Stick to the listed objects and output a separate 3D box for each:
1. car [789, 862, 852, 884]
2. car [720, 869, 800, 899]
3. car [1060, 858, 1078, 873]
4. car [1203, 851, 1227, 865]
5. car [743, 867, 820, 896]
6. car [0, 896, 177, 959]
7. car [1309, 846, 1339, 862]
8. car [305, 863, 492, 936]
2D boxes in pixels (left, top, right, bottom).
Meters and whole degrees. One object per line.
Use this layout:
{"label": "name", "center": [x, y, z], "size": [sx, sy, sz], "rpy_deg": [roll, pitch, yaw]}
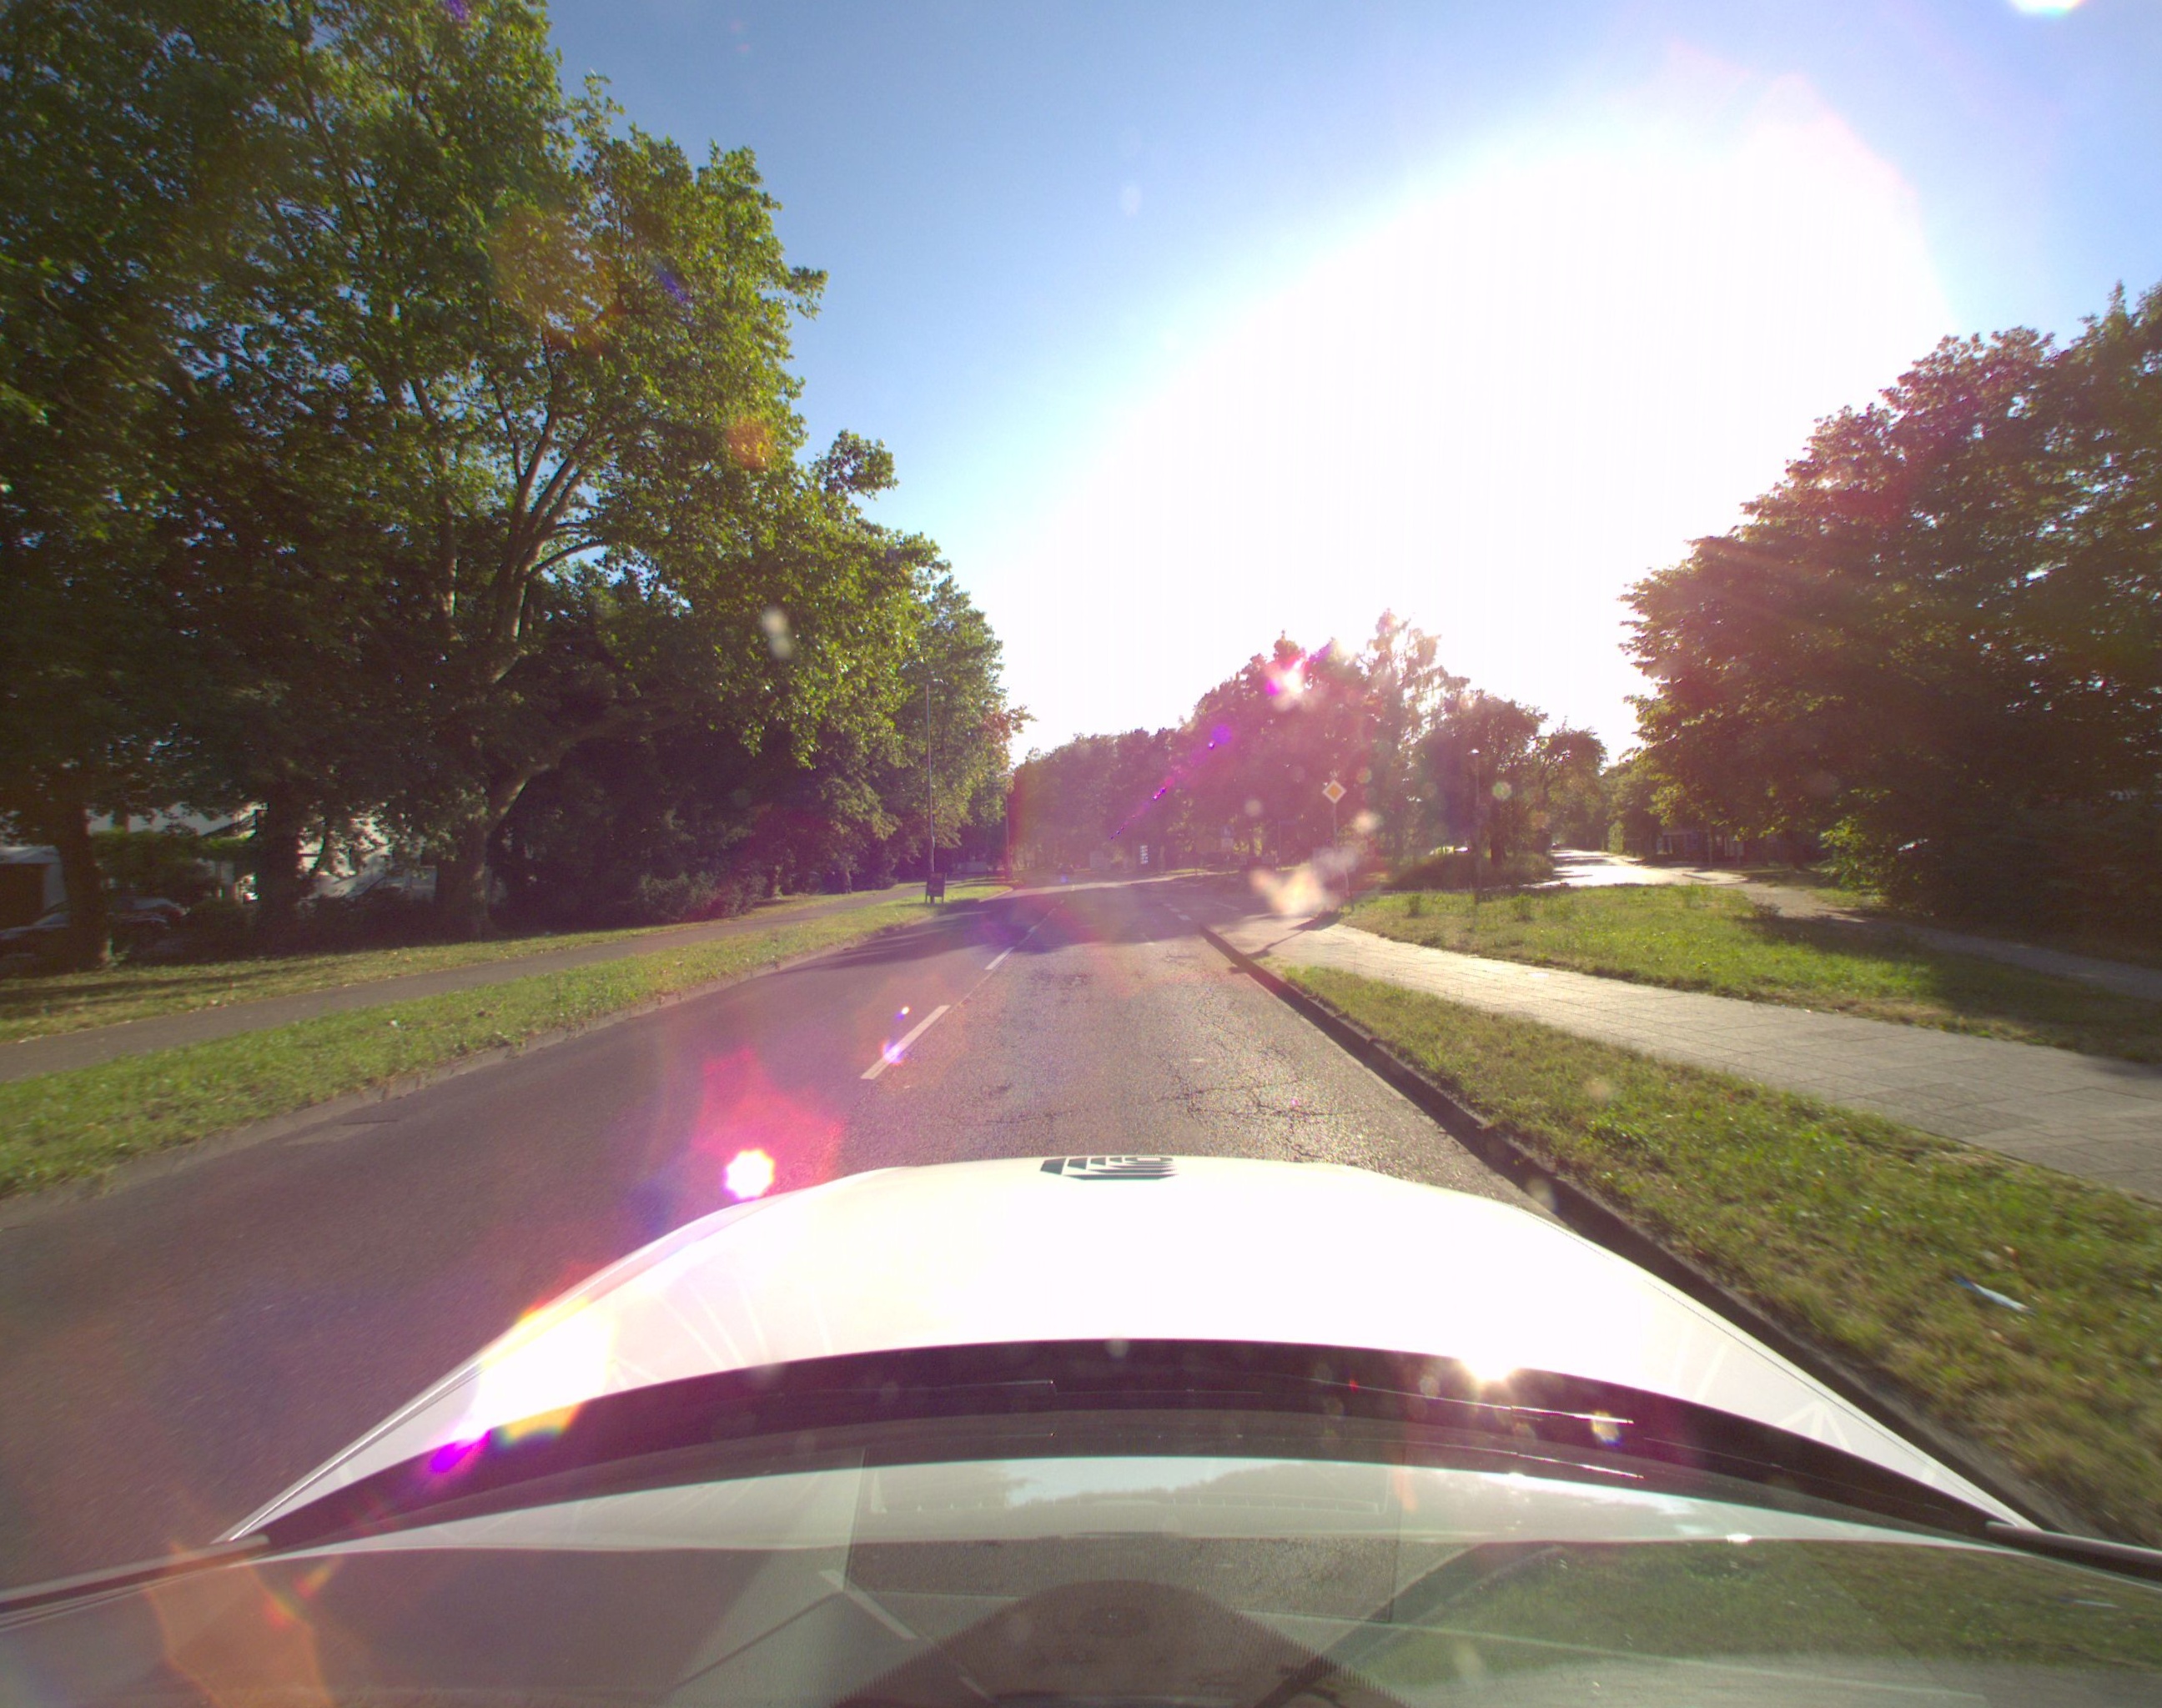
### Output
{"label": "car", "center": [-18.654, 1.341, 58.521], "size": [3.981, 1.508, 1.909], "rpy_deg": [0, -1, -6]}
{"label": "car", "center": [-17.893, 1.657, 45.476], "size": [3.718, 1.500, 1.812], "rpy_deg": [-2, 0, -3]}
{"label": "car", "center": [-1.384, 1.338, 95.243], "size": [1.832, 1.605, 3.864], "rpy_deg": [-3, 0, 2]}
{"label": "car", "center": [15.438, 0.467, 93.972], "size": [1.837, 1.420, 3.996], "rpy_deg": [-2, 0, -3]}
{"label": "car", "center": [-18.715, 1.676, 50.988], "size": [4.121, 1.596, 1.948], "rpy_deg": [-2, -1, -8]}
{"label": "car", "center": [-28.113, 2.011, 22.586], "size": [1.772, 1.441, 3.764], "rpy_deg": [-3, -1, 1]}
{"label": "car", "center": [28.511, 0.036, 95.779], "size": [1.809, 1.728, 4.390], "rpy_deg": [-2, 0, -5]}
{"label": "car", "center": [-21.095, 1.358, 25.353], "size": [3.983, 2.044, 1.904], "rpy_deg": [-1, 1, -7]}
